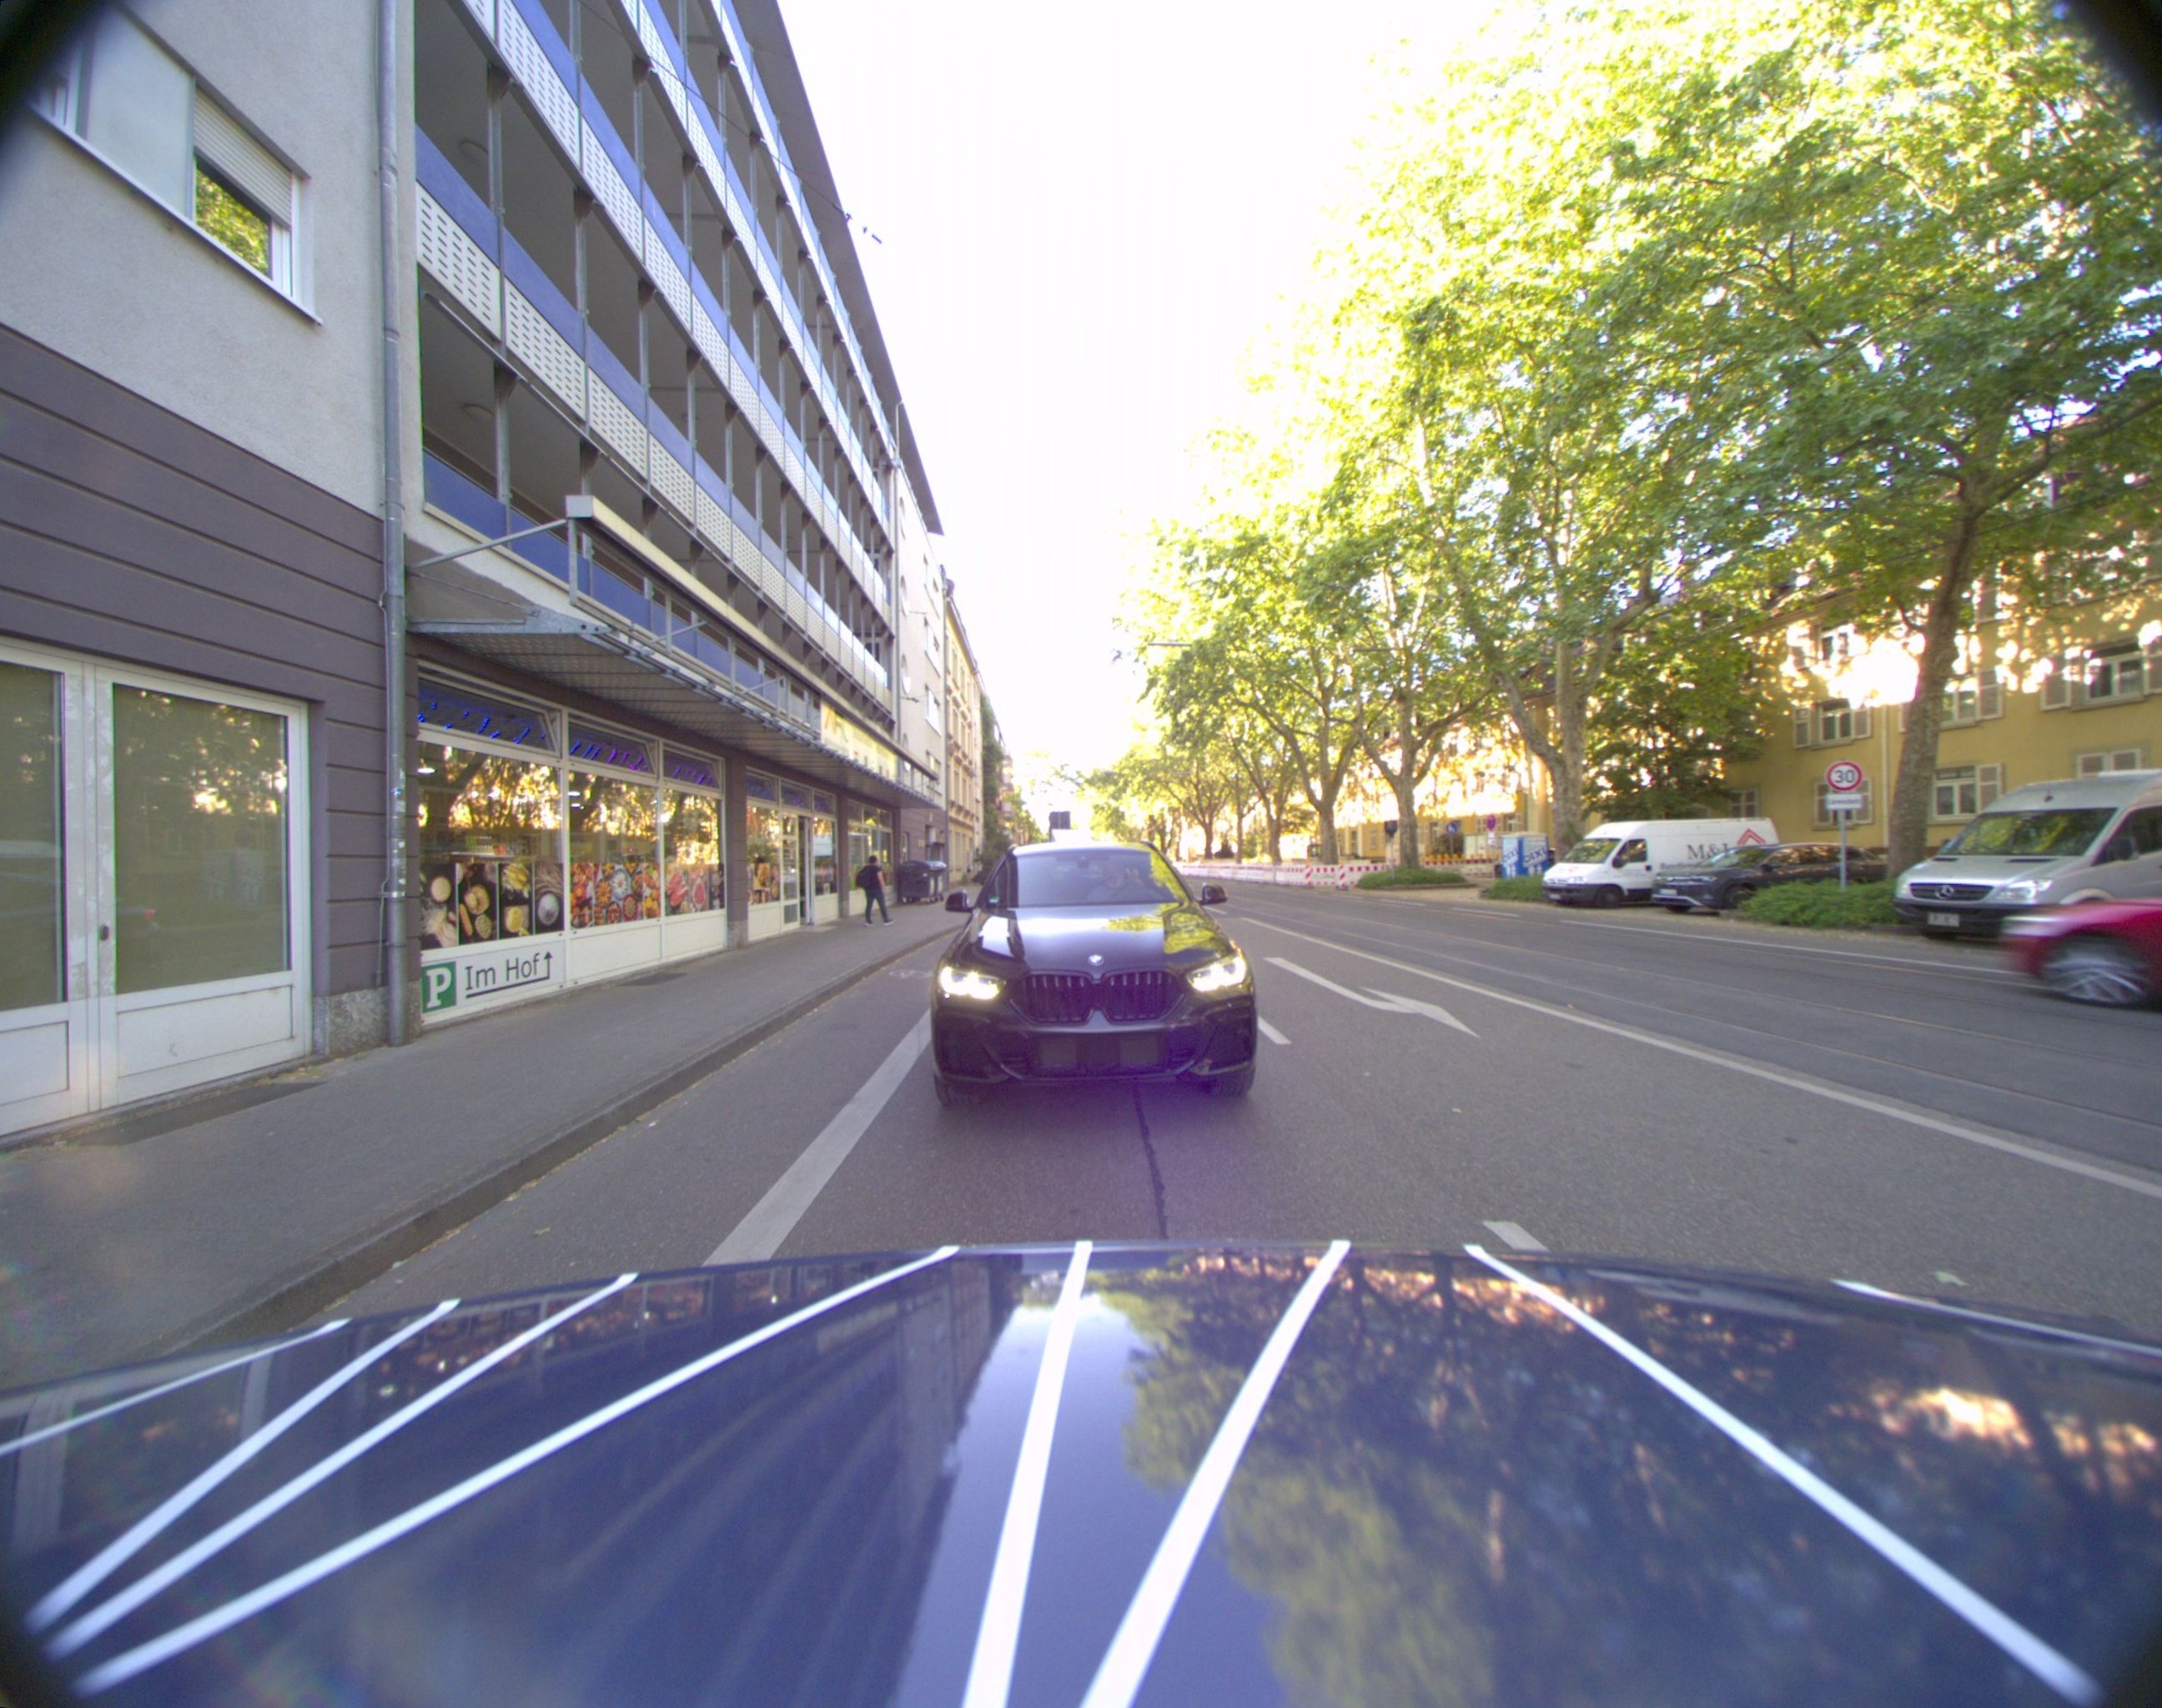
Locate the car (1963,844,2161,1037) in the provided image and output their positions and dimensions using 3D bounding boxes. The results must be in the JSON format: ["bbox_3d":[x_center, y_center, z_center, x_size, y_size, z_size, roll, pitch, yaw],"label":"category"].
[{"bbox_3d":[9.888,0.692,5.354,2.022,1.556,4.490,-1,0,-3],"label":"car"}]

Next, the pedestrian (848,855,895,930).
[{"bbox_3d":[-4.530,0.825,16.473,0.864,1.582,0.622,0,0,-5],"label":"pedestrian"}]

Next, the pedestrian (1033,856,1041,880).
[{"bbox_3d":[-3.501,1.133,60.695,0.600,1.875,0.581,-2,1,-1],"label":"pedestrian"}]

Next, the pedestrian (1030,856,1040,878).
[{"bbox_3d":[-3.957,1.103,64.920,0.733,1.875,0.664,-2,1,-1],"label":"pedestrian"}]

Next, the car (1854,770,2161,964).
[{"bbox_3d":[15.979,0.132,11.849,5.666,2.666,2.223,-2,0,-2],"label":"car"}]

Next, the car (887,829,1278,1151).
[{"bbox_3d":[0.036,0.714,6.080,1.998,1.643,4.295,-1,0,1],"label":"car"}]

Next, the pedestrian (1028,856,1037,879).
[{"bbox_3d":[-4.037,1.127,63.077,0.600,1.875,0.581,-2,1,-1],"label":"pedestrian"}]

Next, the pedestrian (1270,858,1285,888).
[{"bbox_3d":[11.677,1.098,45.194,0.652,1.735,0.583,-2,1,-5],"label":"pedestrian"}]

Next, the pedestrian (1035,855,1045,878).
[{"bbox_3d":[-3.479,1.072,64.129,0.733,1.875,0.664,-2,1,-1],"label":"pedestrian"}]

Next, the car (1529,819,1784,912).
[{"bbox_3d":[15.838,0.295,21.138,5.404,2.362,2.223,-1,0,0],"label":"car"}]

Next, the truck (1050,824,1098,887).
[{"bbox_3d":[-0.322,0.127,42.272,2.394,3.170,6.587,-1,0,1],"label":"truck"}]

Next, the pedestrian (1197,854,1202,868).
[{"bbox_3d":[16.226,0.951,104.059,0.732,1.875,0.665,-2,1,8],"label":"pedestrian"}]

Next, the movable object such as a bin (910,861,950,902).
[{"bbox_3d":[-5.290,0.957,26.674,1.158,1.418,0.939,-1,0,1],"label":"movable object such as a bin"}]

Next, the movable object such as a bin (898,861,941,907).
[{"bbox_3d":[-5.239,0.959,24.636,1.158,1.418,0.939,-1,0,1],"label":"movable object such as a bin"}]

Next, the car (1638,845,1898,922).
[{"bbox_3d":[16.071,0.662,17.931,4.627,1.642,1.774,-1,0,-2],"label":"car"}]
